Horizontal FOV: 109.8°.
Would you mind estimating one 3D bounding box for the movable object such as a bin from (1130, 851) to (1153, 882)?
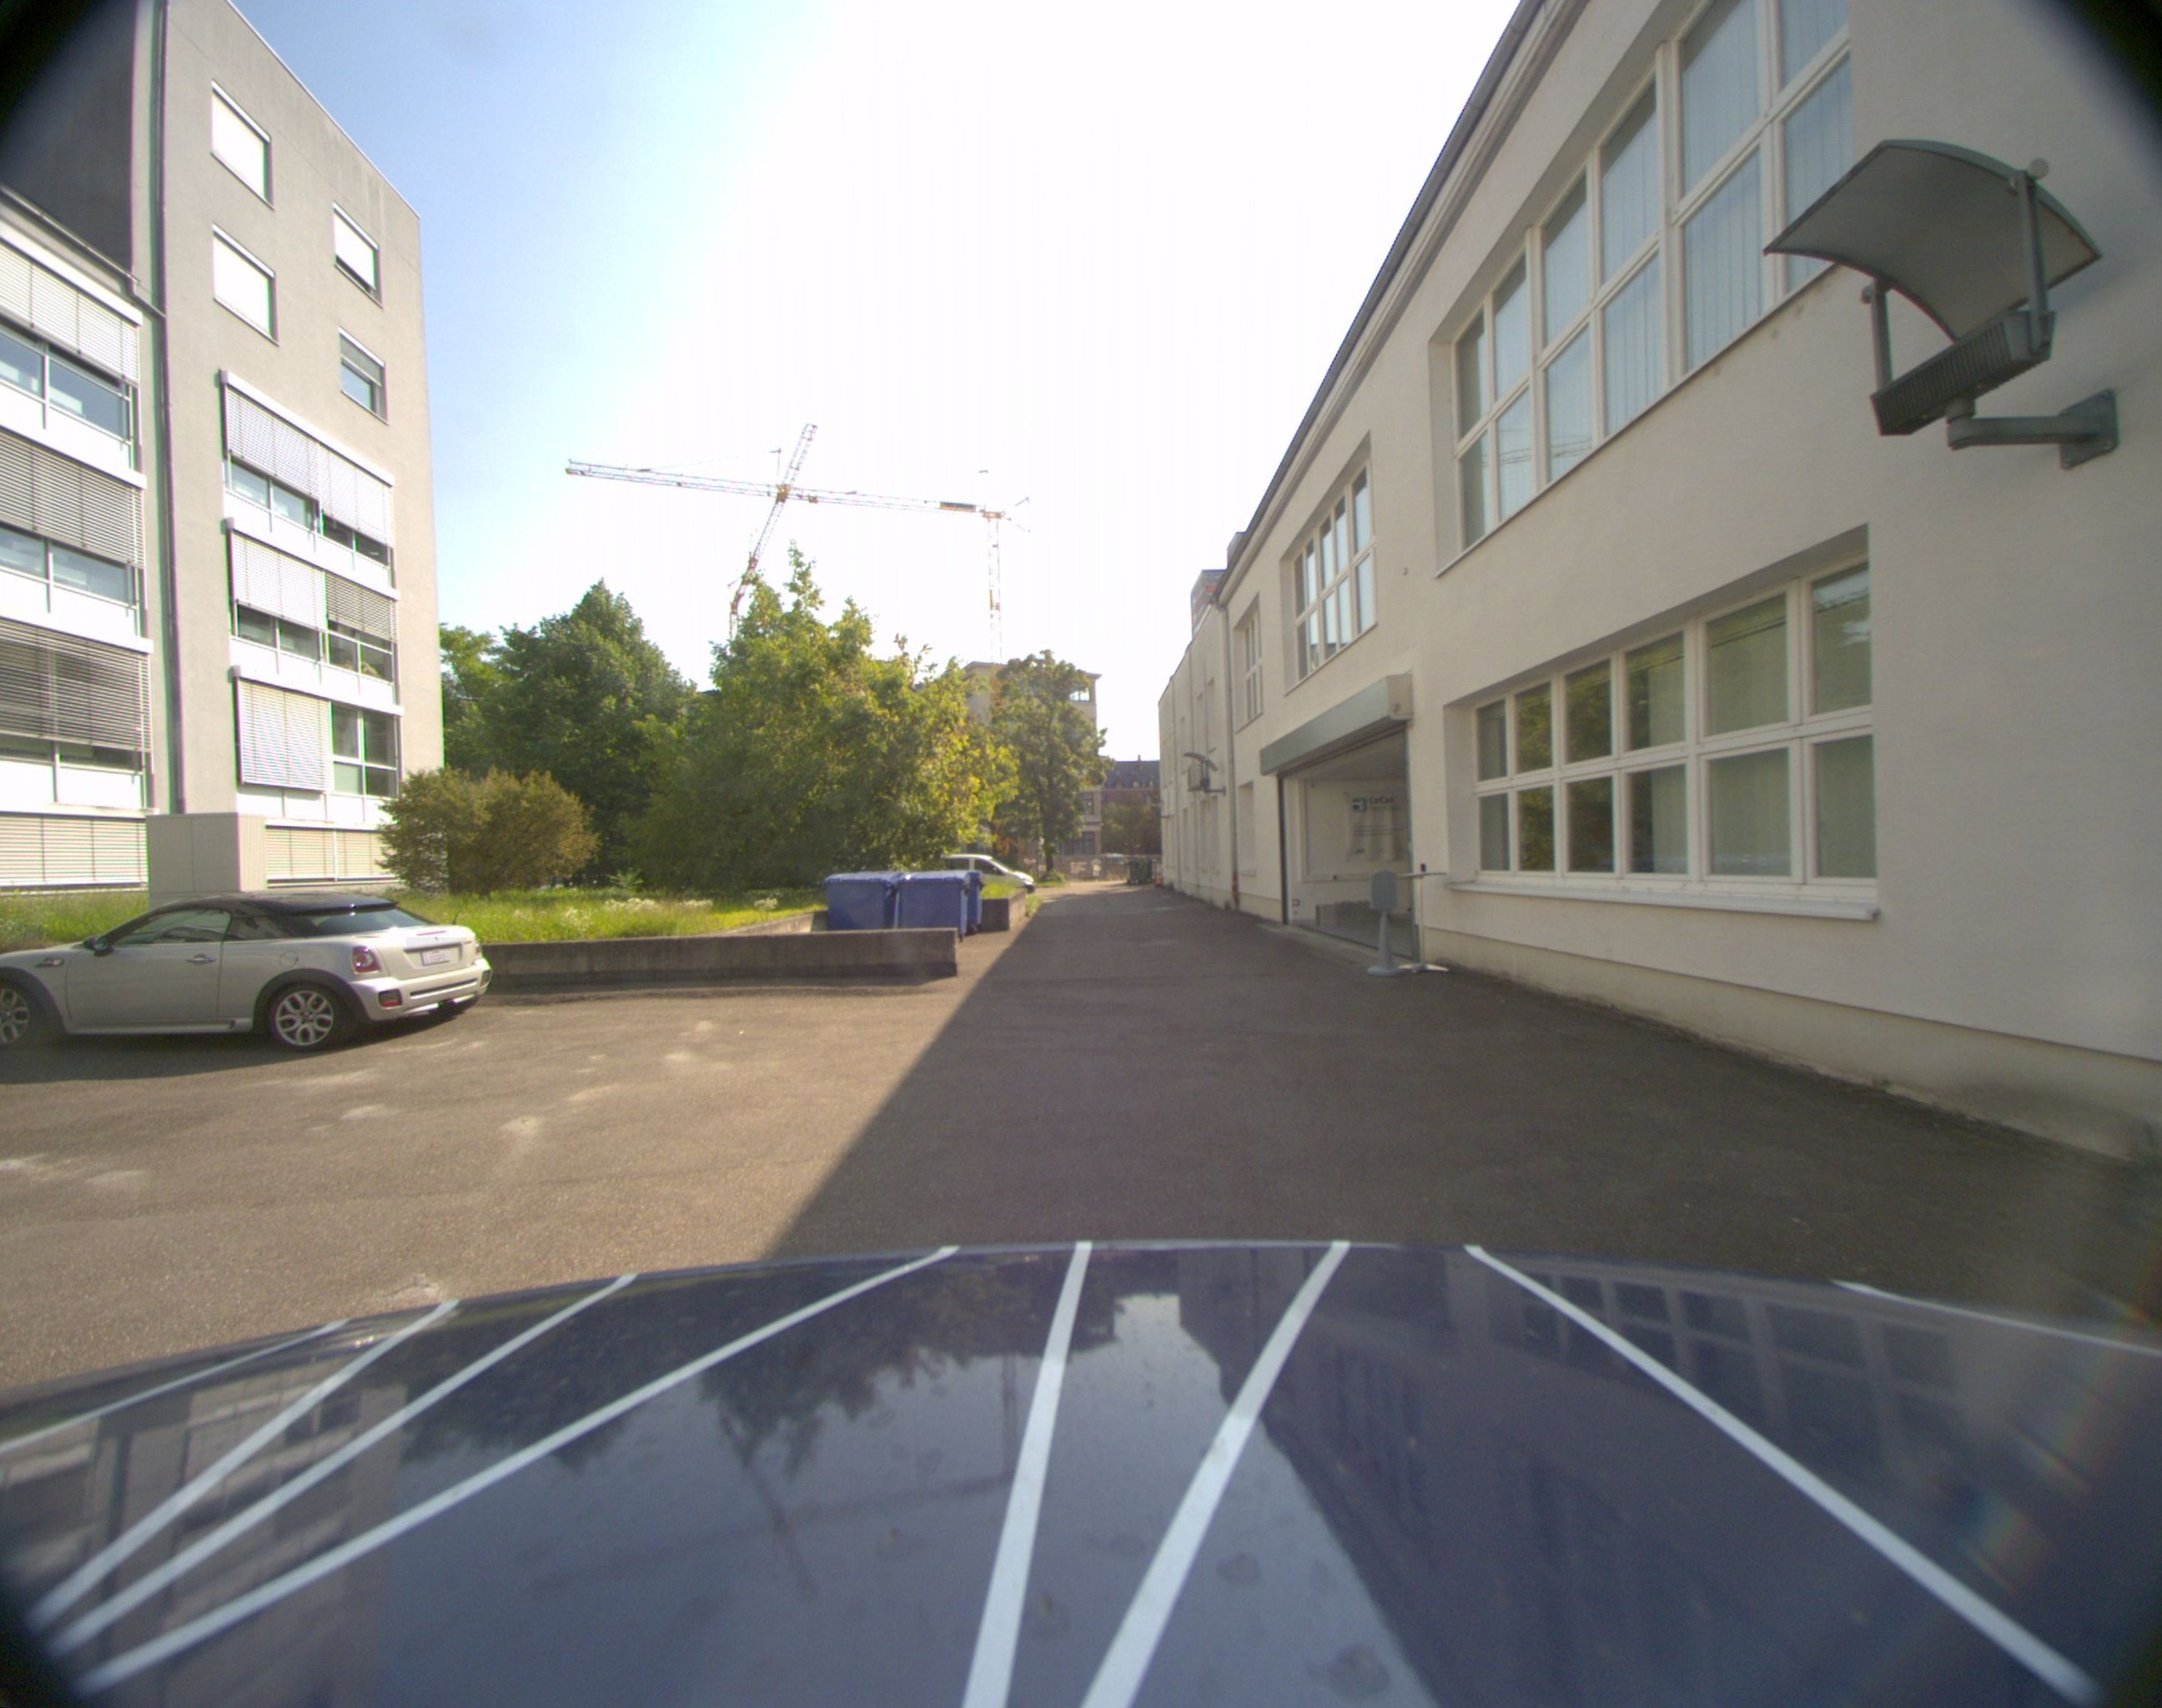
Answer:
[{"bbox_3d":[3.359,0.679,42.477,1.183,1.696,1.395,-2,1,4],"label":"movable object such as a bin"}]

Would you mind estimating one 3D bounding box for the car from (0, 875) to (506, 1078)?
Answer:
[{"bbox_3d":[-8.042,1.061,7.272,3.628,1.536,1.802,2,1,-2],"label":"car"}]

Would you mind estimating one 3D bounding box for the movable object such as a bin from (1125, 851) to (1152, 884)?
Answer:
[{"bbox_3d":[3.051,0.706,40.675,1.184,1.696,1.376,-2,1,-4],"label":"movable object such as a bin"}]

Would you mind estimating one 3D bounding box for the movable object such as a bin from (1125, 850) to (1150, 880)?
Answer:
[{"bbox_3d":[3.359,0.656,45.283,1.184,1.696,1.376,-2,1,-4],"label":"movable object such as a bin"}]

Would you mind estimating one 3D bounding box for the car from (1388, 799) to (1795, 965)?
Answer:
[{"bbox_3d":[7.485,0.384,11.541,4.759,2.080,2.055,-3,1,0],"label":"car"}]

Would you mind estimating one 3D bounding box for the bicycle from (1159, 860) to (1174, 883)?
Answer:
[{"bbox_3d":[4.742,0.945,42.214,0.477,1.206,2.008,-2,1,-2],"label":"bicycle"}]

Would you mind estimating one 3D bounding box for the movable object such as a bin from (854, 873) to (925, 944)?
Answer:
[{"bbox_3d":[-3.963,1.111,15.843,1.230,1.333,1.076,-2,1,-5],"label":"movable object such as a bin"}]

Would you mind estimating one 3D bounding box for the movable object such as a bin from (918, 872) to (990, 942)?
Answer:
[{"bbox_3d":[-2.628,1.073,15.839,1.313,1.333,1.100,-2,1,-3],"label":"movable object such as a bin"}]

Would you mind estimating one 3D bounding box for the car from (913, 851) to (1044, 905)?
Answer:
[{"bbox_3d":[-4.128,0.958,31.237,4.969,1.910,2.044,-3,1,2],"label":"car"}]

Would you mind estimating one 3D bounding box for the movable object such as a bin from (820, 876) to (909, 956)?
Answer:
[{"bbox_3d":[-3.989,1.126,14.125,1.237,1.333,1.117,-2,1,3],"label":"movable object such as a bin"}]

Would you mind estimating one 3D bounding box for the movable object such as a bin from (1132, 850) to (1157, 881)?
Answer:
[{"bbox_3d":[3.633,0.657,43.886,1.184,1.696,1.376,-2,1,-4],"label":"movable object such as a bin"}]

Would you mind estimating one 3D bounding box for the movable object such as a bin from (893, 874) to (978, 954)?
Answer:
[{"bbox_3d":[-2.660,1.084,14.087,1.303,1.333,1.194,-2,1,-1],"label":"movable object such as a bin"}]
